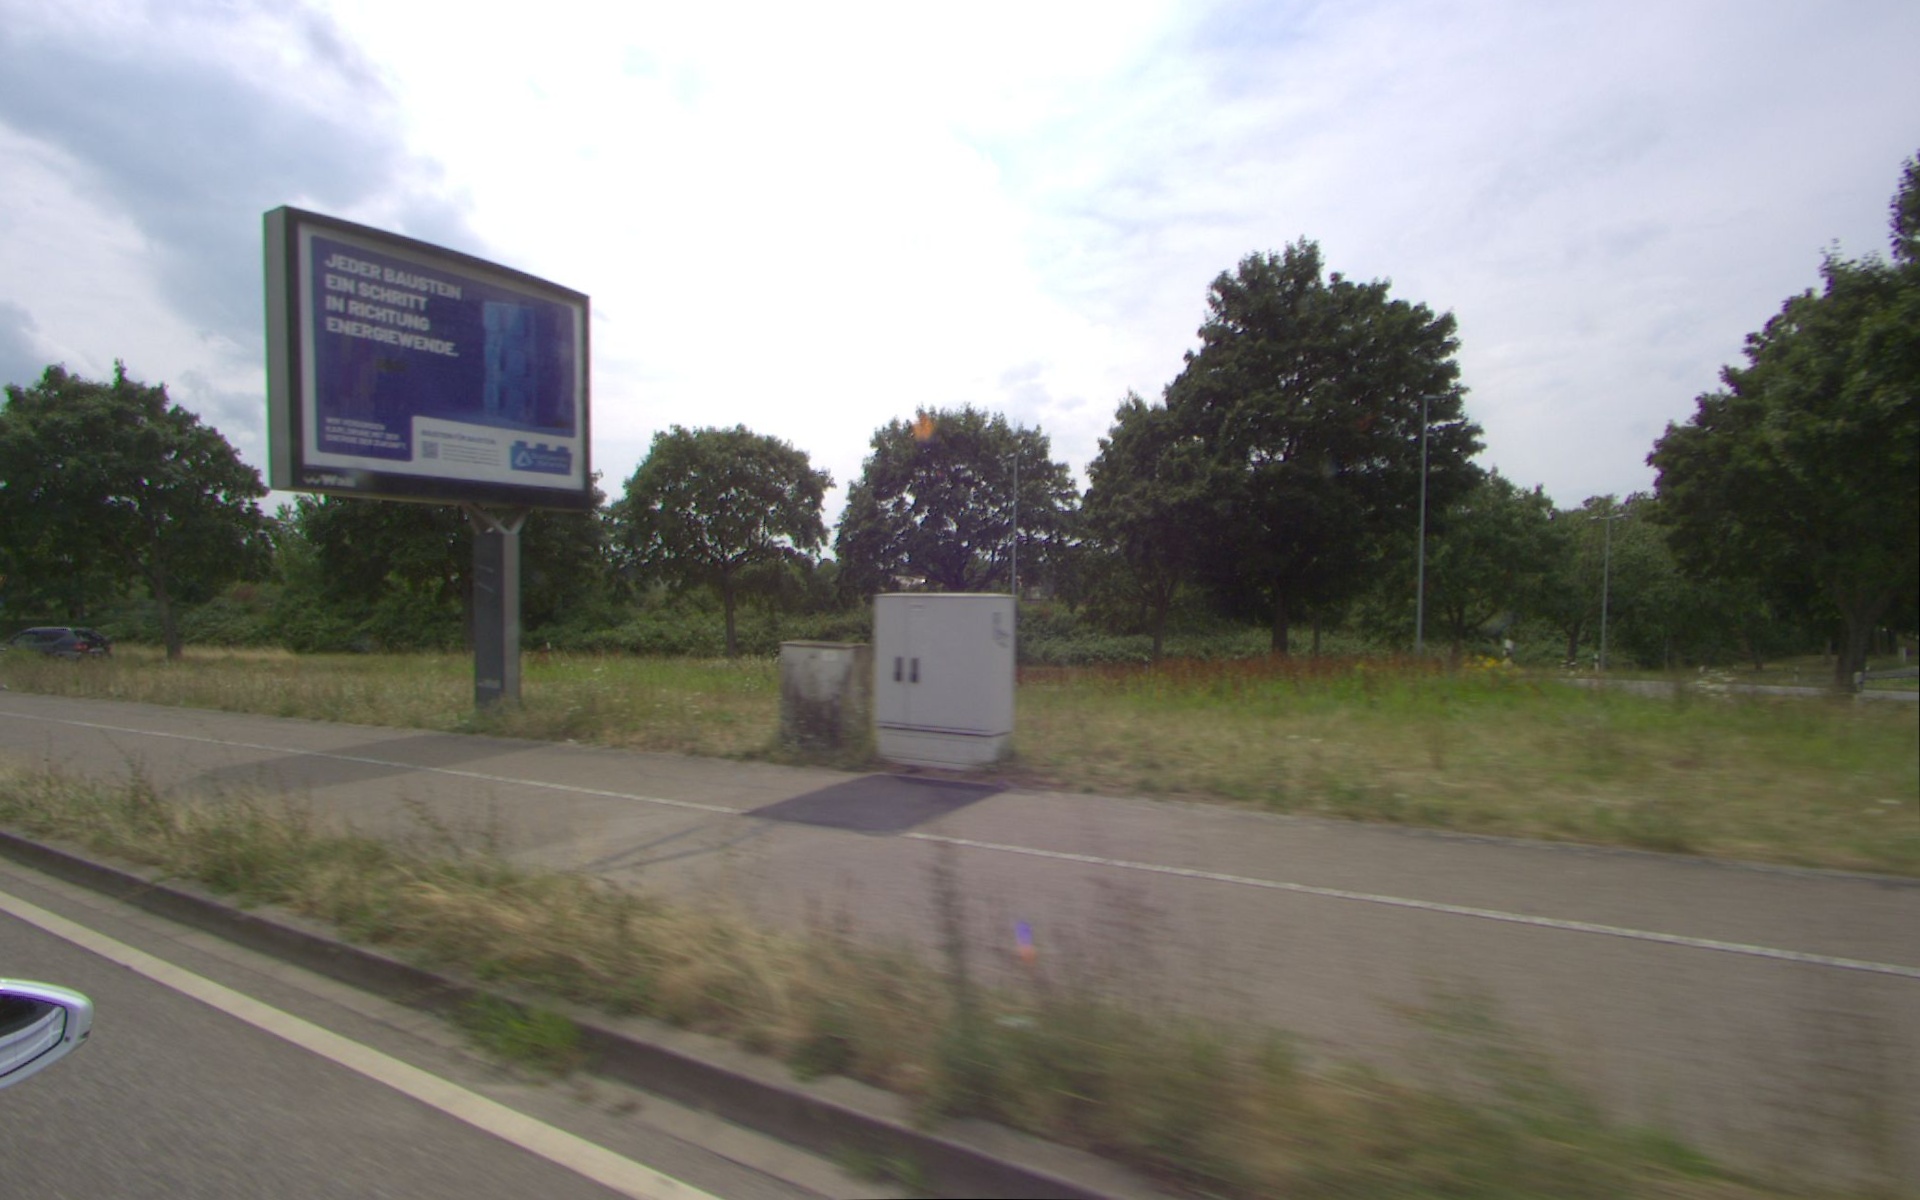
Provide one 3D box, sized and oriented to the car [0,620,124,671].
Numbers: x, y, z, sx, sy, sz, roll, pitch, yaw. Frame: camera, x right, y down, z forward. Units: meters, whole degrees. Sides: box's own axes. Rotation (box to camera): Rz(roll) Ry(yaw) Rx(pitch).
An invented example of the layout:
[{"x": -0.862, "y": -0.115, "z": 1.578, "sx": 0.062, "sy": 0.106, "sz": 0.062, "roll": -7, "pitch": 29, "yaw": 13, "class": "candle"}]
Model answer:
[{"x": -31.778, "y": 1.560, "z": 34.680, "sx": 3.930, "sy": 1.690, "sz": 1.706, "roll": 1, "pitch": -1, "yaw": -17, "class": "car"}]
